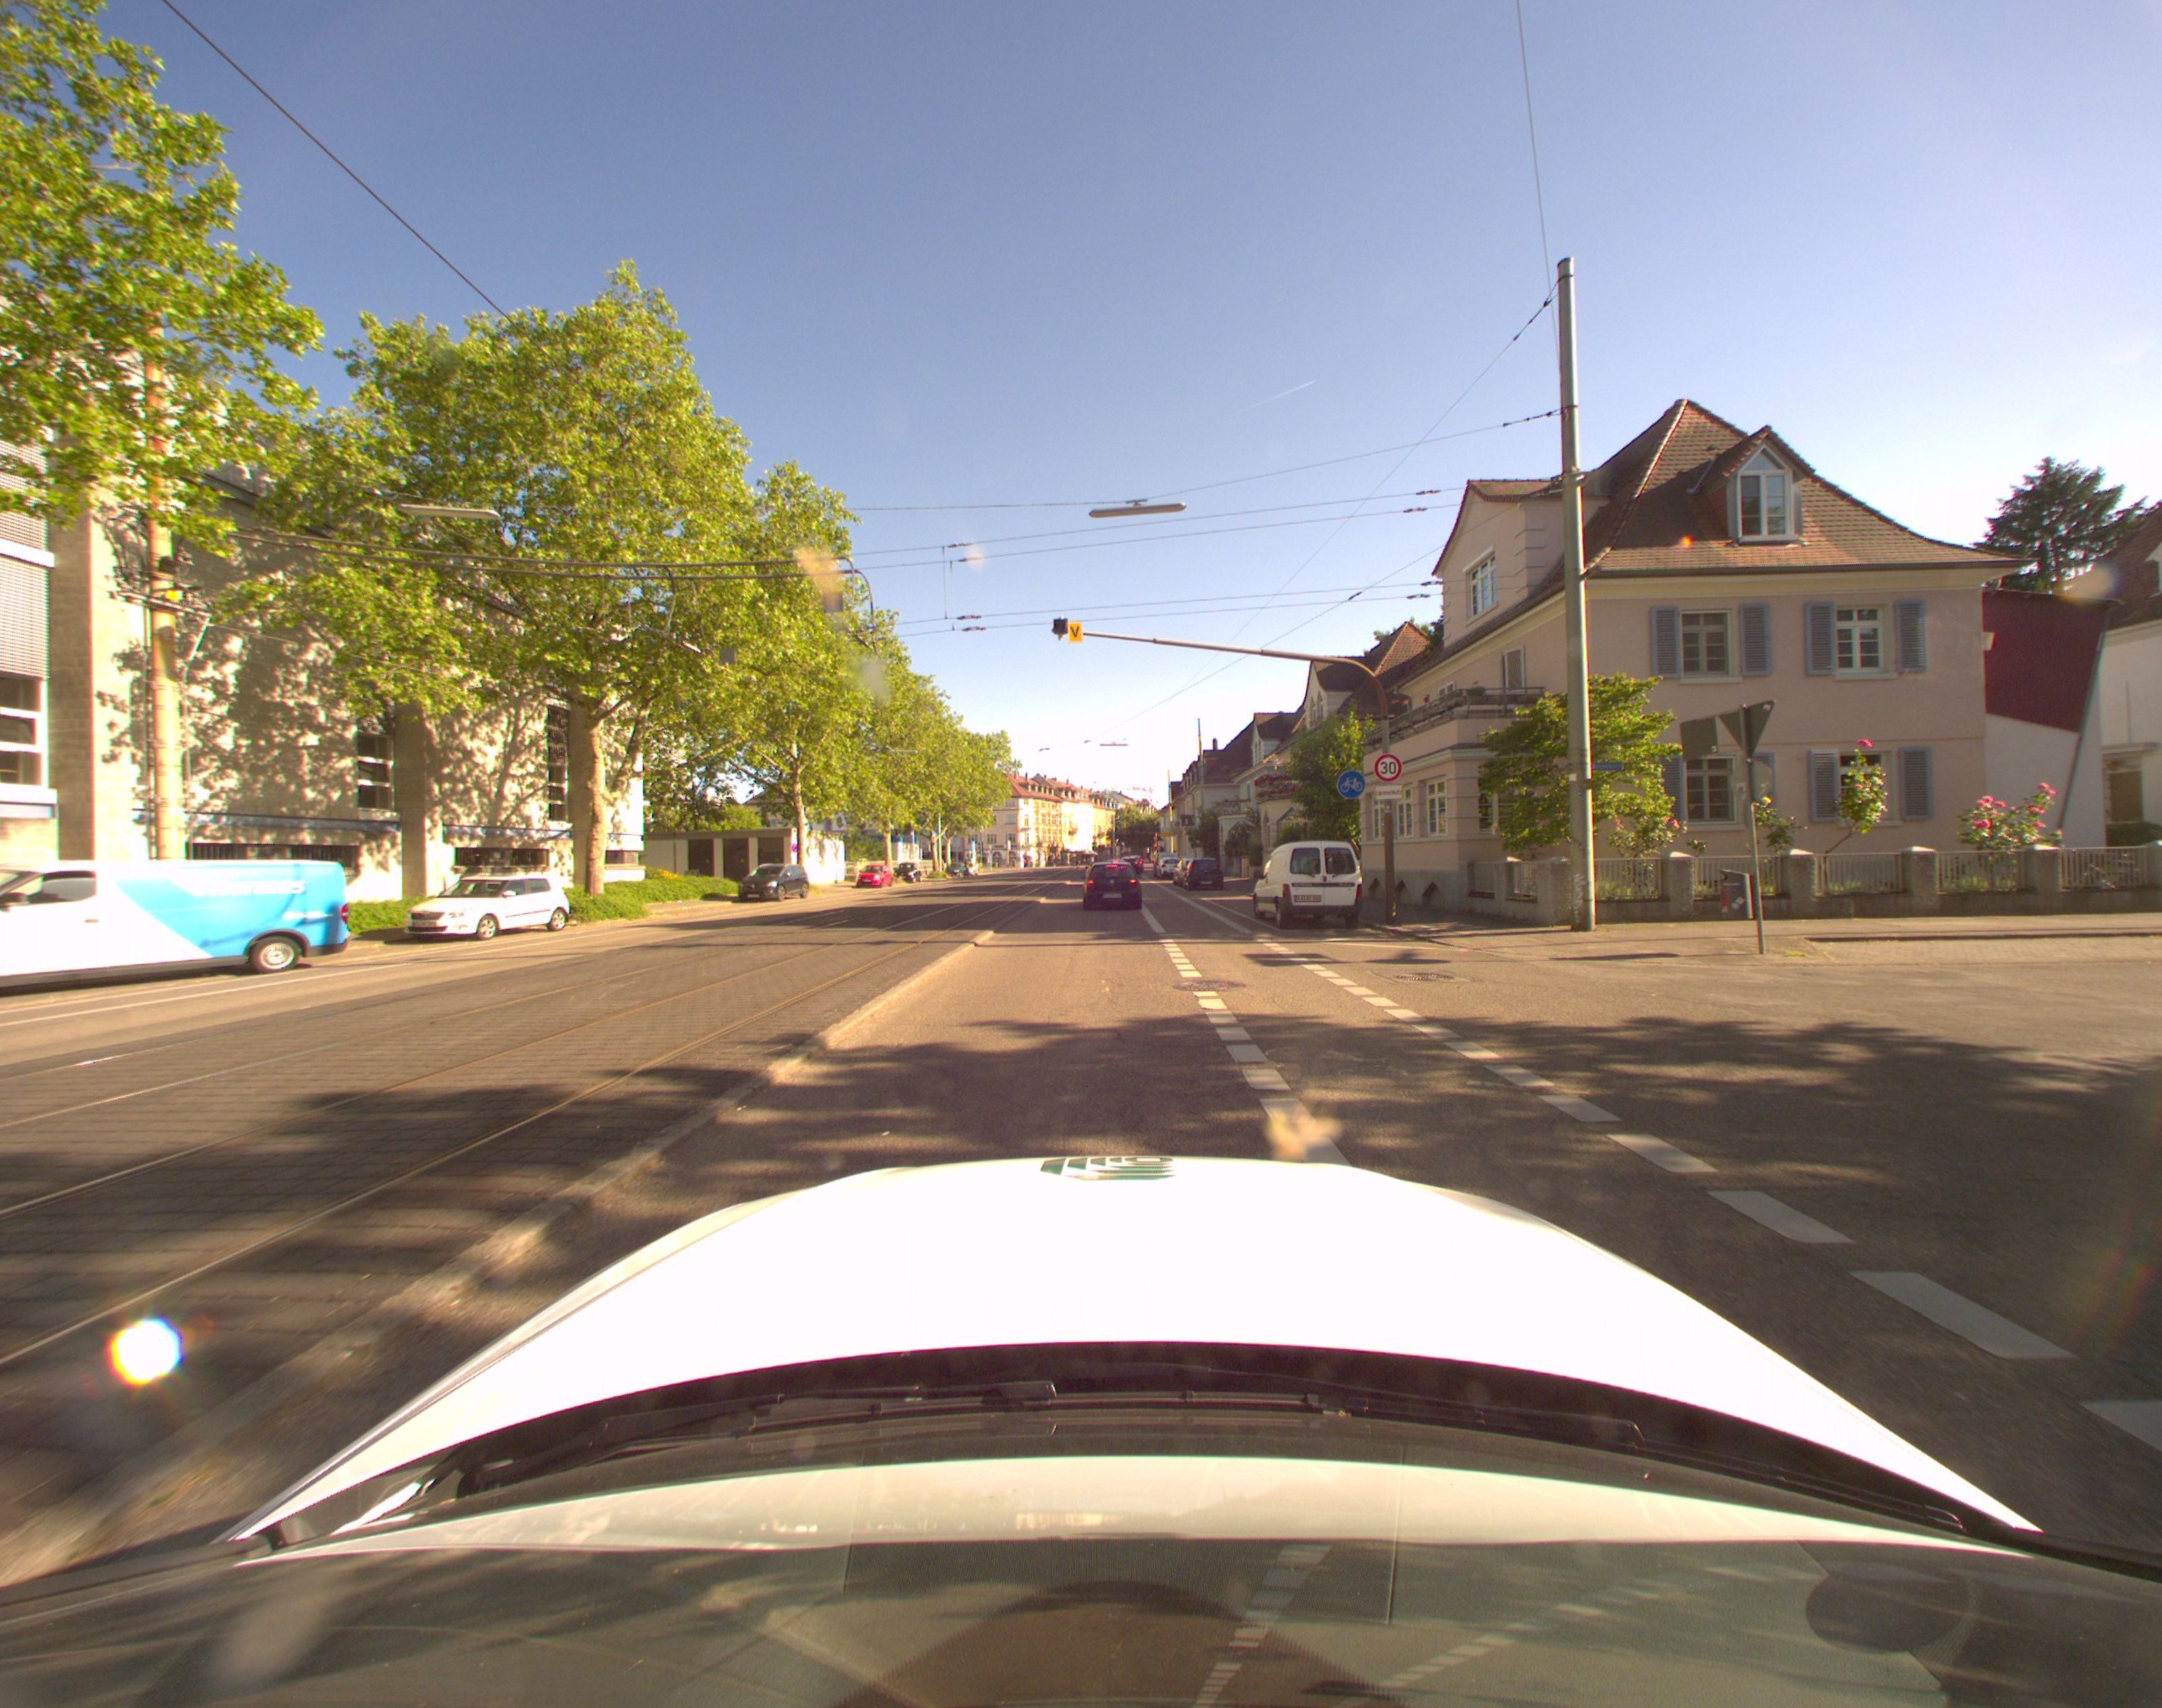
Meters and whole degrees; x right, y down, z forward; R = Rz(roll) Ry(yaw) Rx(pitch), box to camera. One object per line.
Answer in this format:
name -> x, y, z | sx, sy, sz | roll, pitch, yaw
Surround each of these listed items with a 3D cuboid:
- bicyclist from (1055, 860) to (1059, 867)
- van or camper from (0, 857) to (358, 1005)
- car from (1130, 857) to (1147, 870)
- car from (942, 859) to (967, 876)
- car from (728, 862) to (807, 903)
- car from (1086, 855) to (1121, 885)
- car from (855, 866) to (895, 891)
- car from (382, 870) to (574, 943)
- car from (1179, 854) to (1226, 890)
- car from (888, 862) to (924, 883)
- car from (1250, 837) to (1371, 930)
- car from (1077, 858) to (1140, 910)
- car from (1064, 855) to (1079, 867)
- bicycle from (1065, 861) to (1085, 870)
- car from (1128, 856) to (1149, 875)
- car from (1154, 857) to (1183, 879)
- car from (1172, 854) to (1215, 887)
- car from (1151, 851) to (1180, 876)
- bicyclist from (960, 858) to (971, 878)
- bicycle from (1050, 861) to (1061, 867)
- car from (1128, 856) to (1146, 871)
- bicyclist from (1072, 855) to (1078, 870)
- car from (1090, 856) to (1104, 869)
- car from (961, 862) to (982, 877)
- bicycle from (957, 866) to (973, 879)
bicyclist -> -4.666, 1.823, 156.386 | 0.680, 1.336, 0.922 | 0, 0, -2
van or camper -> -14.903, 1.038, 12.568 | 2.042, 1.949, 5.217 | 0, 0, 22
car -> 6.464, 1.068, 91.764 | 1.630, 1.472, 3.731 | -1, 0, 2
car -> -12.730, 1.357, 82.094 | 1.877, 1.669, 3.805 | 0, 0, 1
car -> -14.131, 1.239, 36.912 | 1.881, 1.666, 4.001 | -1, 0, 2
car -> 1.241, 0.832, 44.240 | 1.742, 1.537, 3.894 | -2, 0, 2
car -> -13.464, 1.564, 53.360 | 1.564, 1.533, 3.573 | -1, -1, 2
car -> -14.587, 1.199, 20.026 | 1.568, 1.507, 4.092 | 0, 0, 2
car -> 5.572, 0.796, 37.654 | 1.654, 1.526, 4.038 | -1, 0, 2
car -> -13.346, 1.407, 62.336 | 1.786, 1.465, 3.837 | 1, 0, 2
car -> 4.905, 0.580, 17.897 | 1.752, 1.838, 3.549 | 0, 0, 2
car -> 0.784, 0.853, 24.695 | 1.743, 1.375, 4.000 | -2, 0, 0
car -> -1.113, 0.853, 99.952 | 1.630, 1.472, 3.731 | 1, 0, 2
bicycle -> -0.855, 1.577, 114.236 | 2.732, 1.262, 0.706 | 0, 0, 1
car -> 4.758, 0.952, 67.698 | 1.630, 1.472, 3.731 | -1, 0, 2
car -> 5.884, 0.909, 55.128 | 1.574, 1.375, 4.001 | -1, 0, 2
car -> 5.756, 0.803, 42.025 | 1.742, 1.537, 3.957 | -2, 0, 2
car -> 6.252, 0.677, 60.270 | 1.810, 1.799, 4.001 | -1, 0, 2
bicyclist -> -10.540, 1.266, 74.336 | 0.910, 1.833, 0.960 | 0, 0, 1
bicycle -> -4.829, 2.003, 156.367 | 2.081, 1.141, 0.922 | 0, 0, -2
car -> 5.765, 0.989, 83.979 | 1.630, 1.472, 3.731 | -1, 0, 2
bicyclist -> -0.818, 1.204, 114.230 | 0.873, 2.009, 0.706 | 0, 0, 1
car -> 1.940, 1.009, 100.426 | 1.630, 1.472, 3.731 | -1, 0, 2
car -> -11.839, 1.653, 88.314 | 1.630, 1.472, 3.731 | -1, 0, 2
bicycle -> -10.548, 1.641, 74.328 | 0.910, 1.083, 3.204 | 0, 0, 2
